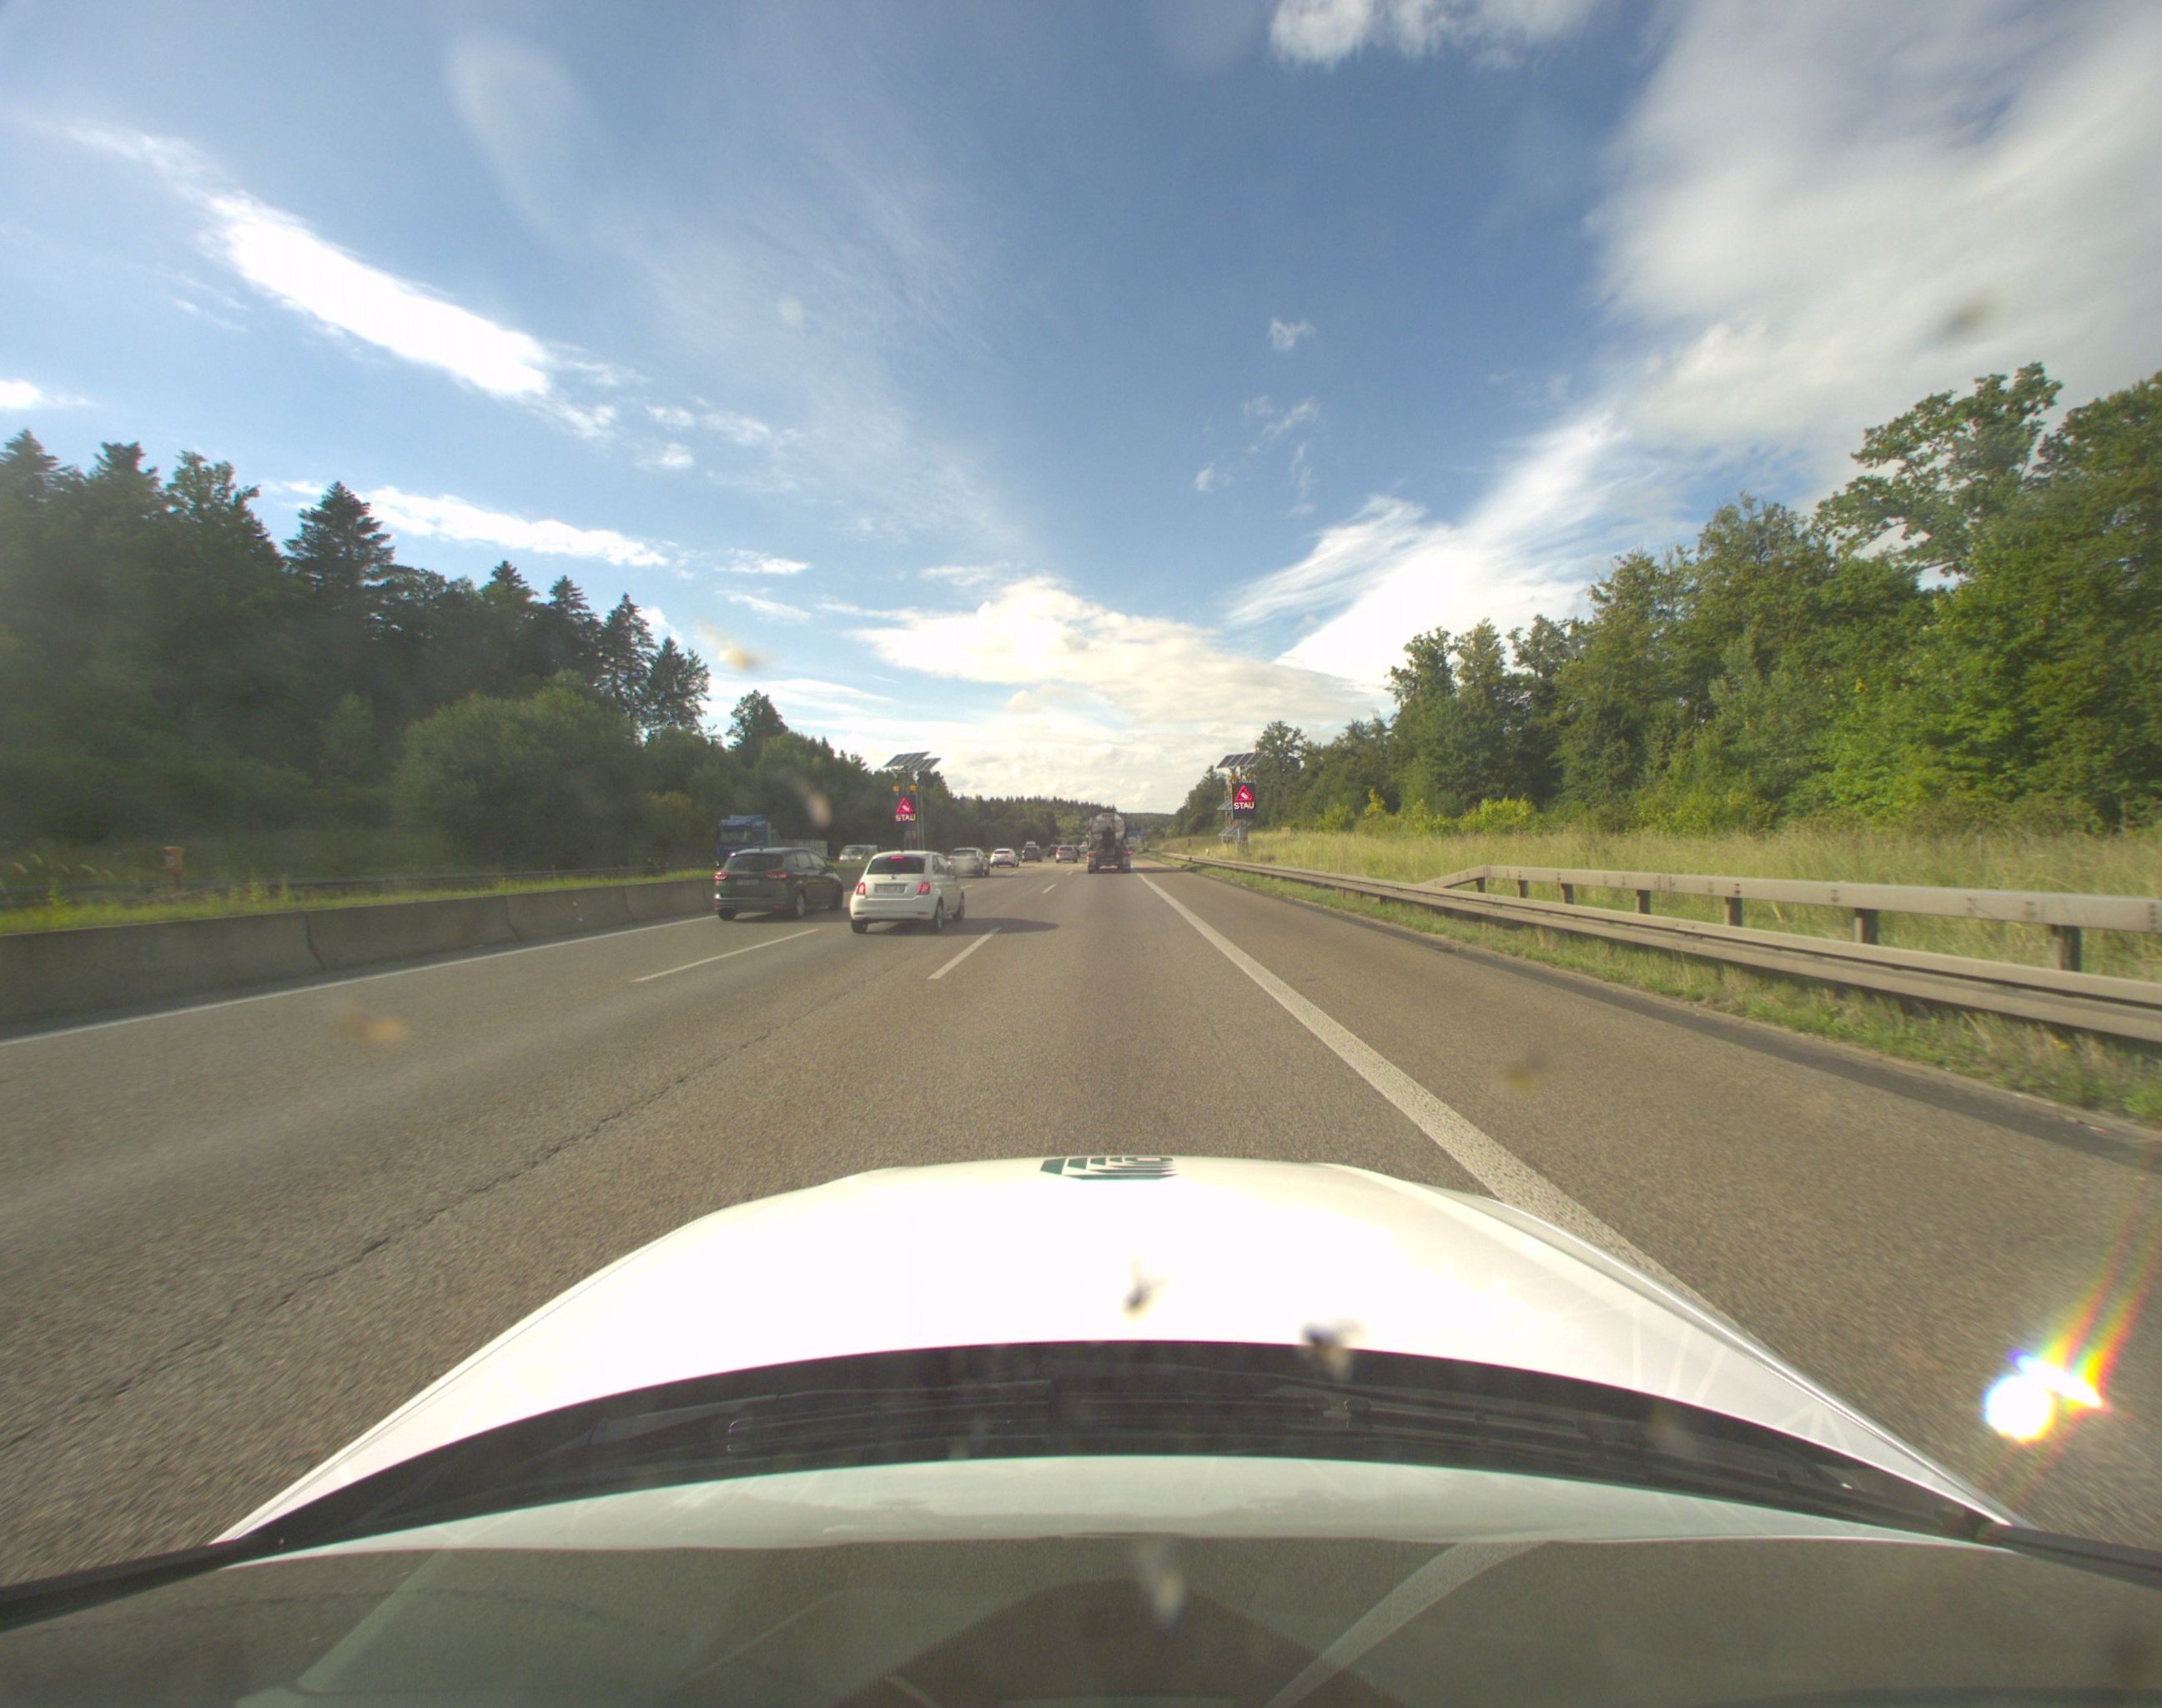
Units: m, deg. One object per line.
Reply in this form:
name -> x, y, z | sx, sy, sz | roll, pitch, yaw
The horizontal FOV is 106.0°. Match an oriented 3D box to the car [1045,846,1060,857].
car -> -4.126, -0.358, 119.493 | 1.935, 1.456, 4.209 | 0, 1, 2

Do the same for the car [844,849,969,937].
car -> -3.309, 0.670, 16.107 | 1.612, 1.544, 3.521 | 0, 0, 2

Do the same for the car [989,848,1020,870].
car -> -5.809, 0.330, 62.352 | 1.800, 1.585, 4.209 | 0, 1, 2

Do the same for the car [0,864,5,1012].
car -> -15.139, 1.083, 7.955 | 2.089, 1.925, 5.286 | 1, 0, 2

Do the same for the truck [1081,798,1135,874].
truck -> 1.748, -1.077, 50.703 | 2.901, 4.157, 11.277 | -1, 1, 2

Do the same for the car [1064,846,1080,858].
car -> -1.238, -0.286, 111.055 | 1.935, 1.456, 4.209 | 0, 1, 2

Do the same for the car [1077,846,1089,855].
car -> 0.426, -0.614, 140.691 | 1.935, 1.456, 4.209 | 0, 1, 2

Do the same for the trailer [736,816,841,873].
trailer -> -21.677, -0.726, 61.535 | 3.112, 3.837, 12.215 | -1, 0, 2

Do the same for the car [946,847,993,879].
car -> -5.856, 0.444, 43.193 | 1.800, 1.585, 4.209 | 0, 1, 2

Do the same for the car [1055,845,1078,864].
car -> -1.329, 0.036, 77.329 | 1.935, 1.654, 4.209 | 0, 1, 2

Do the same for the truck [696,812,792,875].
truck -> -21.937, -0.664, 53.537 | 3.103, 3.837, 7.126 | -1, 0, 2

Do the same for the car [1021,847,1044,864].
car -> -4.803, 0.099, 81.722 | 1.935, 1.585, 4.209 | 0, 1, 2

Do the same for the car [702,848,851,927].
car -> -6.961, 0.678, 19.141 | 1.800, 1.585, 4.209 | 0, 1, 2

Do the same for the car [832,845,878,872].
car -> -17.311, 0.301, 62.662 | 1.986, 2.013, 4.862 | -1, 0, 2
